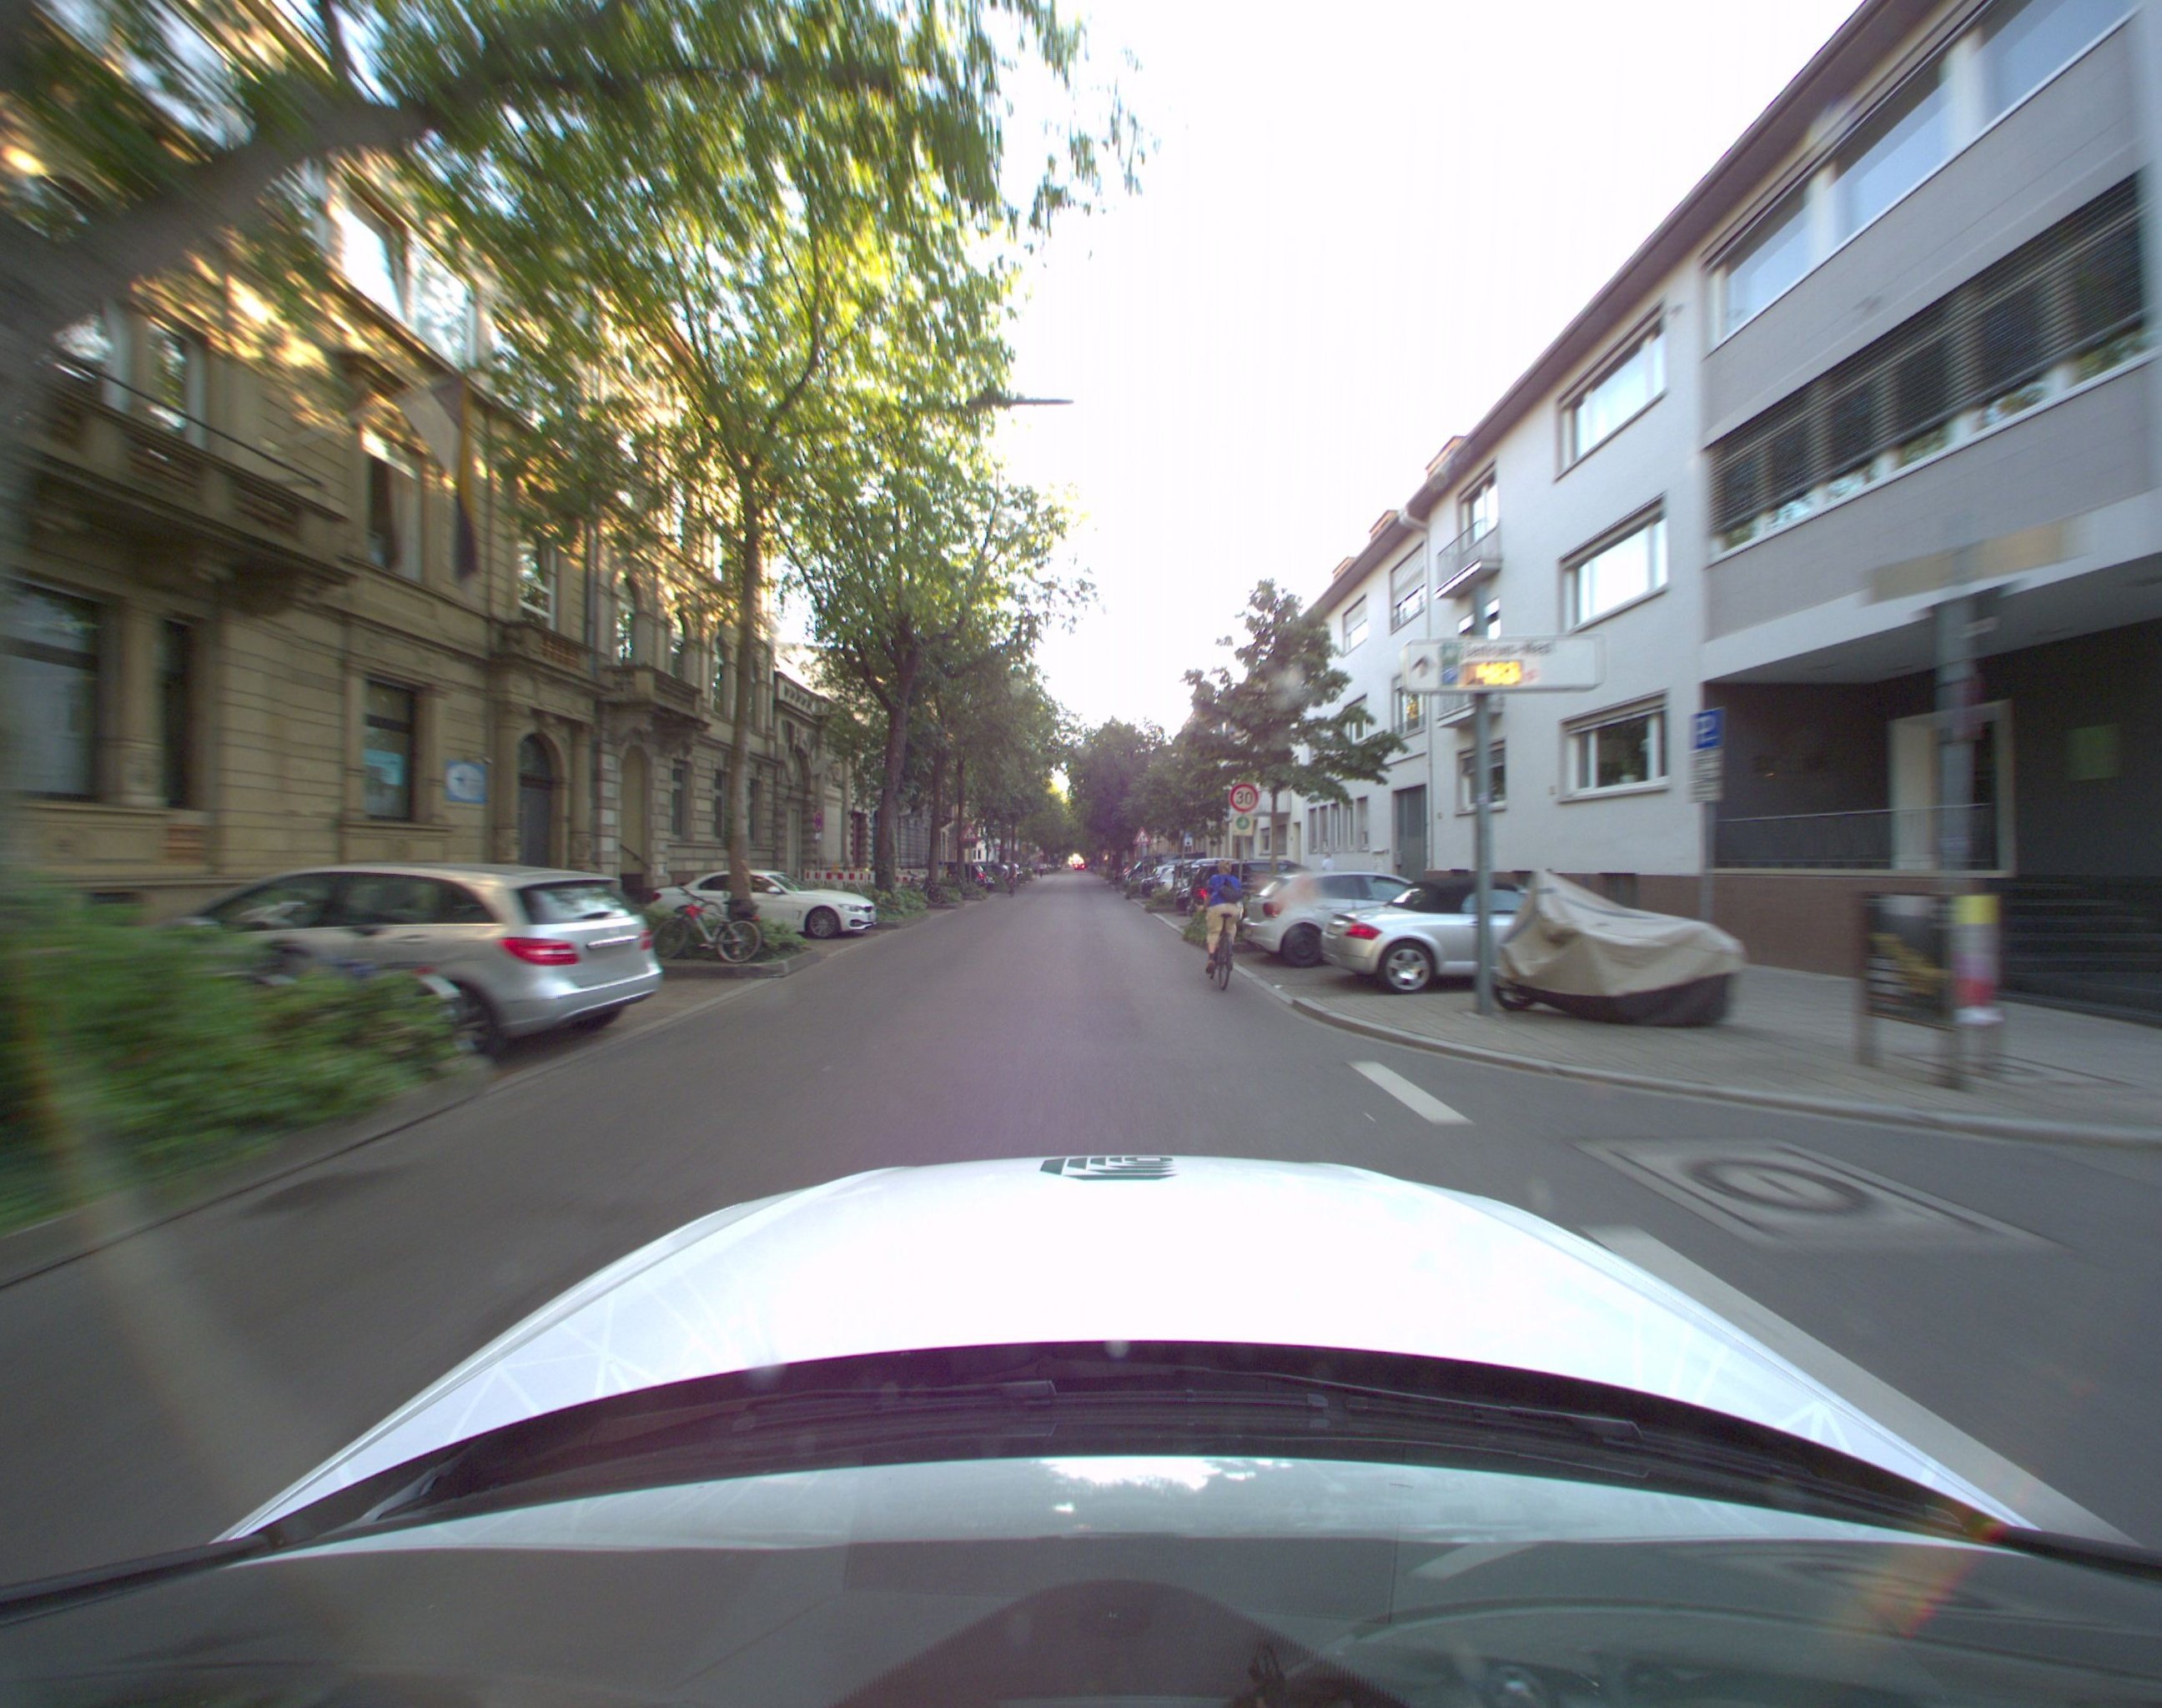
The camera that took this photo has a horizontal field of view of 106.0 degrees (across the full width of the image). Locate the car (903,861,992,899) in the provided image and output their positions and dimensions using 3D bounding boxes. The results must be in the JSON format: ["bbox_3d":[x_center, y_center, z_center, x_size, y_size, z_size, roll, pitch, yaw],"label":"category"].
[{"bbox_3d":[-6.483,1.269,39.942,3.953,1.597,1.780,4,-1,-1],"label":"car"}]

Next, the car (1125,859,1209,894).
[{"bbox_3d":[4.537,1.177,43.513,4.145,1.578,1.968,-4,-1,-2],"label":"car"}]

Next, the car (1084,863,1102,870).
[{"bbox_3d":[3.007,3.151,203.914,4.255,1.565,1.962,-2,-1,-1],"label":"car"}]

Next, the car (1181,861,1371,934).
[{"bbox_3d":[4.553,0.999,19.502,4.096,1.617,1.960,0,-1,0],"label":"car"}]

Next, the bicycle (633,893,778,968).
[{"bbox_3d":[-5.388,1.086,11.746,1.788,1.009,0.598,1,-1,0],"label":"bicycle"}]

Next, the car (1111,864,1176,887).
[{"bbox_3d":[4.439,1.543,58.478,4.390,1.394,1.883,-4,-1,-3],"label":"car"}]

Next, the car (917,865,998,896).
[{"bbox_3d":[-6.515,1.386,43.186,3.952,1.387,1.765,3,0,0],"label":"car"}]

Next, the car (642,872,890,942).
[{"bbox_3d":[-6.584,1.091,17.382,4.497,1.390,1.916,0,-1,1],"label":"car"}]

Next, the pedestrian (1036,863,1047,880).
[{"bbox_3d":[-3.960,1.722,81.532,0.801,1.670,0.822,0,-1,-38],"label":"pedestrian"}]

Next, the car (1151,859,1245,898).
[{"bbox_3d":[5.085,1.057,35.799,3.783,1.423,1.696,-4,-1,-2],"label":"car"}]

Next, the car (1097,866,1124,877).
[{"bbox_3d":[4.276,2.506,118.519,3.869,1.440,1.845,-2,-1,-4],"label":"car"}]

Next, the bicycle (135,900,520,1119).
[{"bbox_3d":[-5.039,0.996,5.575,1.792,1.326,0.772,0,-1,-7],"label":"bicycle"}]

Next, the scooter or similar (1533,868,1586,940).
[{"bbox_3d":[8.684,0.882,14.823,0.343,1.239,1.424,0,-1,10],"label":"scooter or similar"}]

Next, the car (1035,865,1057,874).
[{"bbox_3d":[-6.833,3.037,160.859,4.190,1.635,1.962,-2,-1,-1],"label":"car"}]

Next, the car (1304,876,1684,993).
[{"bbox_3d":[5.065,0.972,10.440,3.971,1.333,1.795,0,-1,2],"label":"car"}]

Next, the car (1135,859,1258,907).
[{"bbox_3d":[4.621,1.154,33.027,4.578,1.578,1.943,-4,-1,-2],"label":"car"}]

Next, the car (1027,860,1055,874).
[{"bbox_3d":[-6.911,2.245,140.719,4.668,2.478,1.999,0,-2,-1],"label":"car"}]

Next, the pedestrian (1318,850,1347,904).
[{"bbox_3d":[8.512,0.757,27.611,0.695,1.795,0.881,-1,-1,0],"label":"pedestrian"}]

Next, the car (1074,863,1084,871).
[{"bbox_3d":[-0.349,2.626,167.600,1.950,1.565,4.281,-2,-1,0],"label":"car"}]

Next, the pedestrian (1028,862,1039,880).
[{"bbox_3d":[-4.714,1.719,81.123,0.801,1.737,0.822,0,-1,-38],"label":"pedestrian"}]

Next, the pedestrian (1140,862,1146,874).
[{"bbox_3d":[7.909,1.827,103.828,0.652,1.536,0.831,-1,-1,0],"label":"pedestrian"}]

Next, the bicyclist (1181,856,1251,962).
[{"bbox_3d":[1.802,0.728,10.960,0.673,1.364,0.773,2,-2,-14],"label":"bicyclist"}]

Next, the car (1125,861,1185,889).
[{"bbox_3d":[4.812,1.371,53.400,3.668,1.578,1.714,-4,-1,0],"label":"car"}]

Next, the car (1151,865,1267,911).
[{"bbox_3d":[4.743,1.251,30.685,4.059,1.429,1.818,-4,-1,1],"label":"car"}]

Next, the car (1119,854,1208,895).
[{"bbox_3d":[4.619,1.143,45.951,4.676,2.011,2.036,-4,-1,-2],"label":"car"}]

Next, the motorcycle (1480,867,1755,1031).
[{"bbox_3d":[4.916,0.838,7.640,1.894,1.392,1.003,-1,-1,12],"label":"motorcycle"}]

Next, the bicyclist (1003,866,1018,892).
[{"bbox_3d":[-3.429,1.220,39.708,0.670,1.263,0.648,-1,-1,0],"label":"bicyclist"}]

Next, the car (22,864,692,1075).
[{"bbox_3d":[-5.904,0.874,7.044,4.154,1.557,1.827,0,-1,2],"label":"car"}]

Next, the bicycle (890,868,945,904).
[{"bbox_3d":[-5.686,1.120,28.377,1.763,1.232,0.501,0,-2,4],"label":"bicycle"}]

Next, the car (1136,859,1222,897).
[{"bbox_3d":[4.803,1.172,40.429,3.955,1.578,1.850,-4,-1,-2],"label":"car"}]

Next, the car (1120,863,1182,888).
[{"bbox_3d":[4.774,1.470,56.020,3.977,1.438,1.925,-4,-1,-2],"label":"car"}]

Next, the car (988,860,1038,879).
[{"bbox_3d":[-6.348,1.467,76.536,4.411,1.651,1.872,1,0,0],"label":"car"}]

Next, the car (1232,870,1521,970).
[{"bbox_3d":[4.565,0.998,13.002,3.974,1.437,1.794,0,-1,0],"label":"car"}]

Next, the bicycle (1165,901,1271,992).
[{"bbox_3d":[1.788,1.193,10.951,0.673,1.030,1.967,2,-2,-14],"label":"bicycle"}]

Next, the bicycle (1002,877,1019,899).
[{"bbox_3d":[-3.418,1.647,39.786,0.670,0.993,1.758,-1,-1,0],"label":"bicycle"}]

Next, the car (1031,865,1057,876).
[{"bbox_3d":[-6.933,3.098,153.131,4.668,1.854,1.962,-2,-1,-1],"label":"car"}]

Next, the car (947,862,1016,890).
[{"bbox_3d":[-6.354,1.409,52.380,4.188,1.672,1.907,1,0,-1],"label":"car"}]

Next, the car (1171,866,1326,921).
[{"bbox_3d":[5.025,1.172,24.838,4.303,1.496,1.793,-2,-1,-2],"label":"car"}]
